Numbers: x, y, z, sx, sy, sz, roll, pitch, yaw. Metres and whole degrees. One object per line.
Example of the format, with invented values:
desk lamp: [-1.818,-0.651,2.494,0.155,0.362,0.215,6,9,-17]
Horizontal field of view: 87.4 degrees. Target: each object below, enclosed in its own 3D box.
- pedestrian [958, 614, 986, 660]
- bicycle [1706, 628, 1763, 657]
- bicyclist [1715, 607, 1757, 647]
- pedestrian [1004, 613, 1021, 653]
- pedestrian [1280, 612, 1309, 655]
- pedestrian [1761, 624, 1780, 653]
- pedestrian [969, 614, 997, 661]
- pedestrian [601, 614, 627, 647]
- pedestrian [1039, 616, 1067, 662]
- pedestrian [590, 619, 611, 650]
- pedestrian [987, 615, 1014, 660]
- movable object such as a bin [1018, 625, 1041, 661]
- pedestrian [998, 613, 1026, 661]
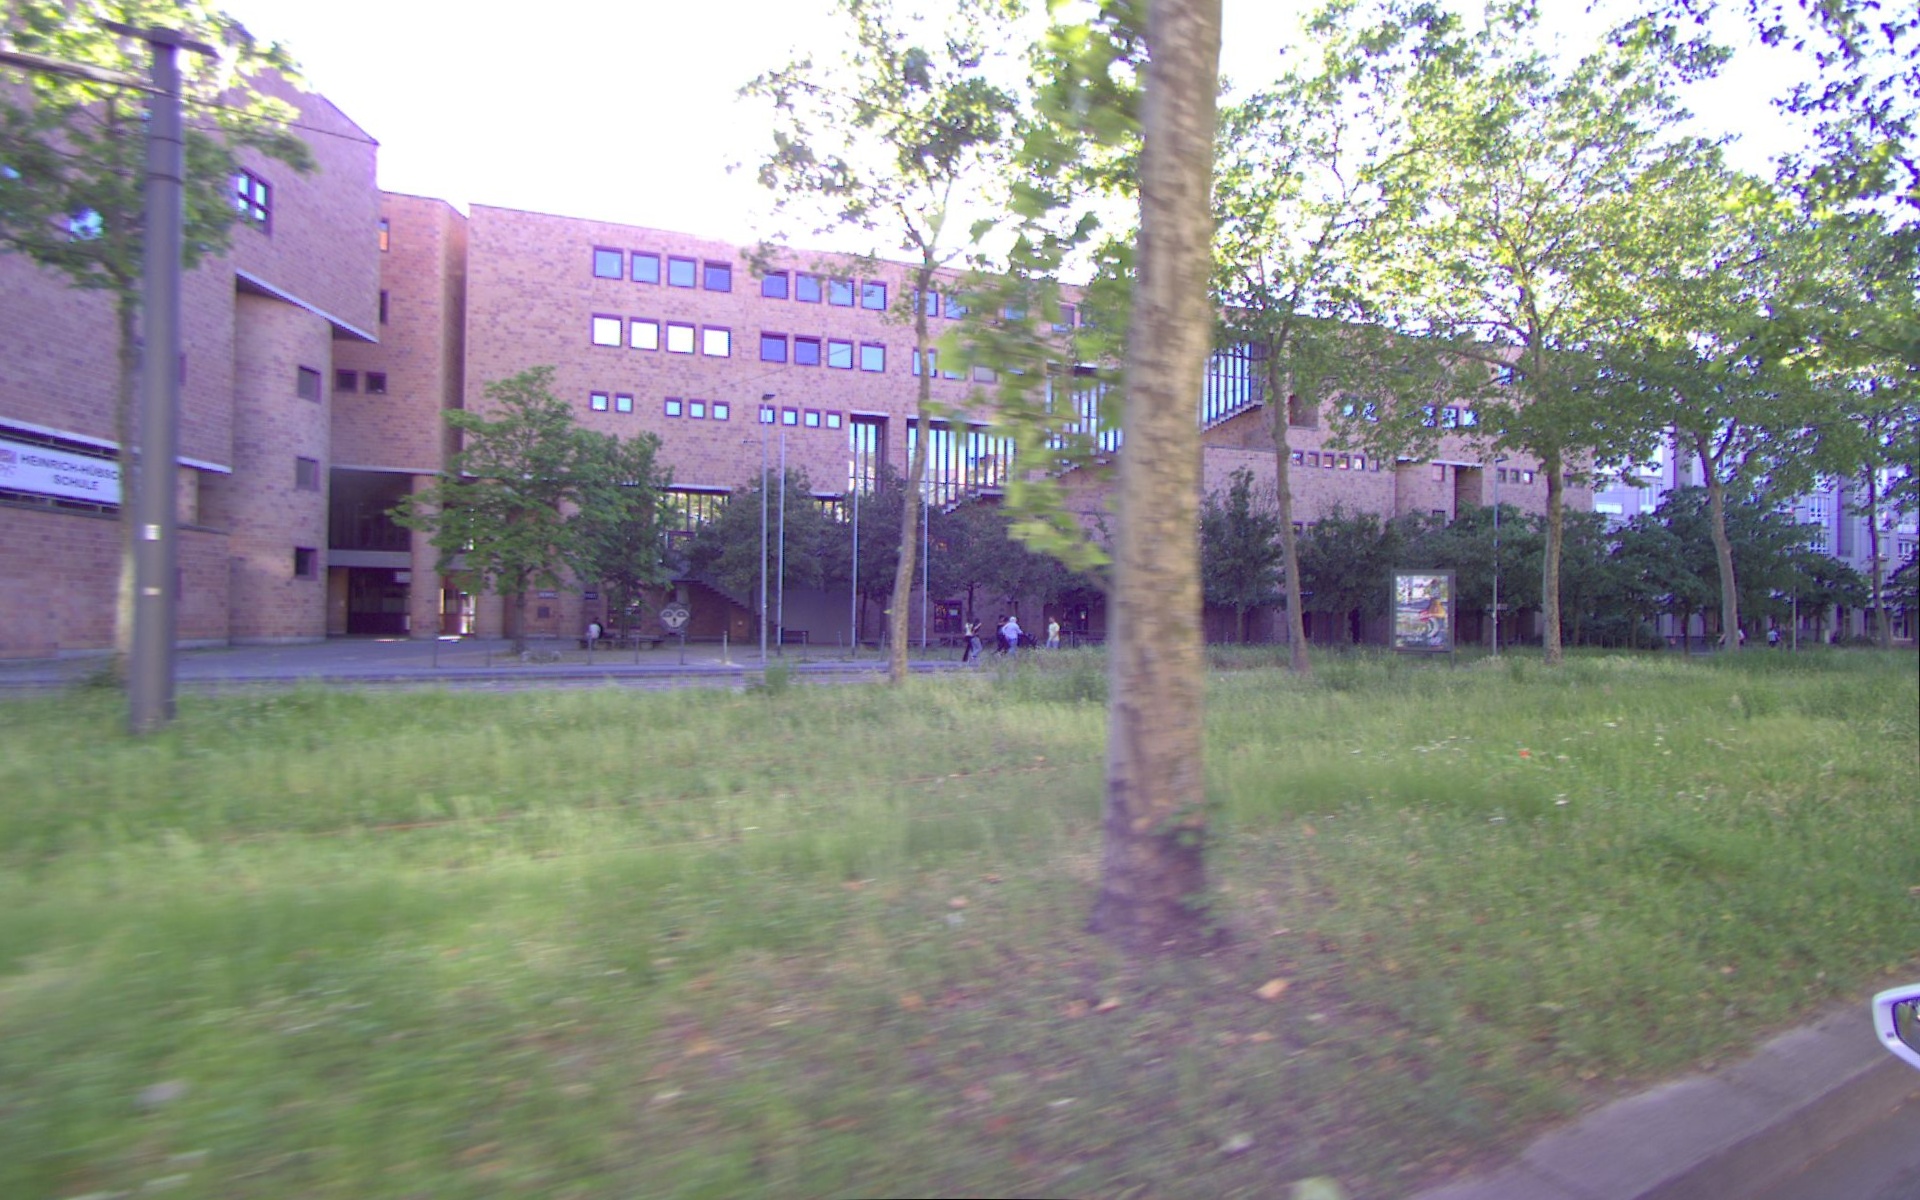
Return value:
pedestrian: [0.428,1.327,36.345,0.747,1.638,0.661,1,-1,-30]
bicycle: [31.332,1.711,40.619,2.406,1.141,0.952,2,-1,-29]
bicyclist: [31.402,1.096,40.652,1.194,1.592,0.937,1,-1,-29]
pedestrian: [2.004,1.259,38.224,0.458,1.525,0.480,1,-1,-32]
pedestrian: [14.777,1.484,44.350,0.889,1.855,0.821,1,-1,-27]
pedestrian: [50.283,2.388,62.347,0.639,1.763,0.726,1,-1,-25]
pedestrian: [0.815,1.337,35.658,0.747,1.638,0.661,1,-1,-30]
pedestrian: [-13.648,1.207,39.610,0.741,1.267,0.666,1,-1,3]
pedestrian: [3.366,1.411,36.387,0.750,1.638,0.658,1,-1,-39]
pedestrian: [-14.412,1.372,40.252,0.625,1.214,0.658,1,-1,-39]
pedestrian: [1.498,1.373,37.074,0.747,1.638,0.661,1,-1,-30]
movable object such as a bin: [2.547,1.569,36.885,0.747,1.296,0.354,1,-1,-30]
pedestrian: [1.892,1.340,36.473,0.787,1.745,0.661,1,-1,-30]
